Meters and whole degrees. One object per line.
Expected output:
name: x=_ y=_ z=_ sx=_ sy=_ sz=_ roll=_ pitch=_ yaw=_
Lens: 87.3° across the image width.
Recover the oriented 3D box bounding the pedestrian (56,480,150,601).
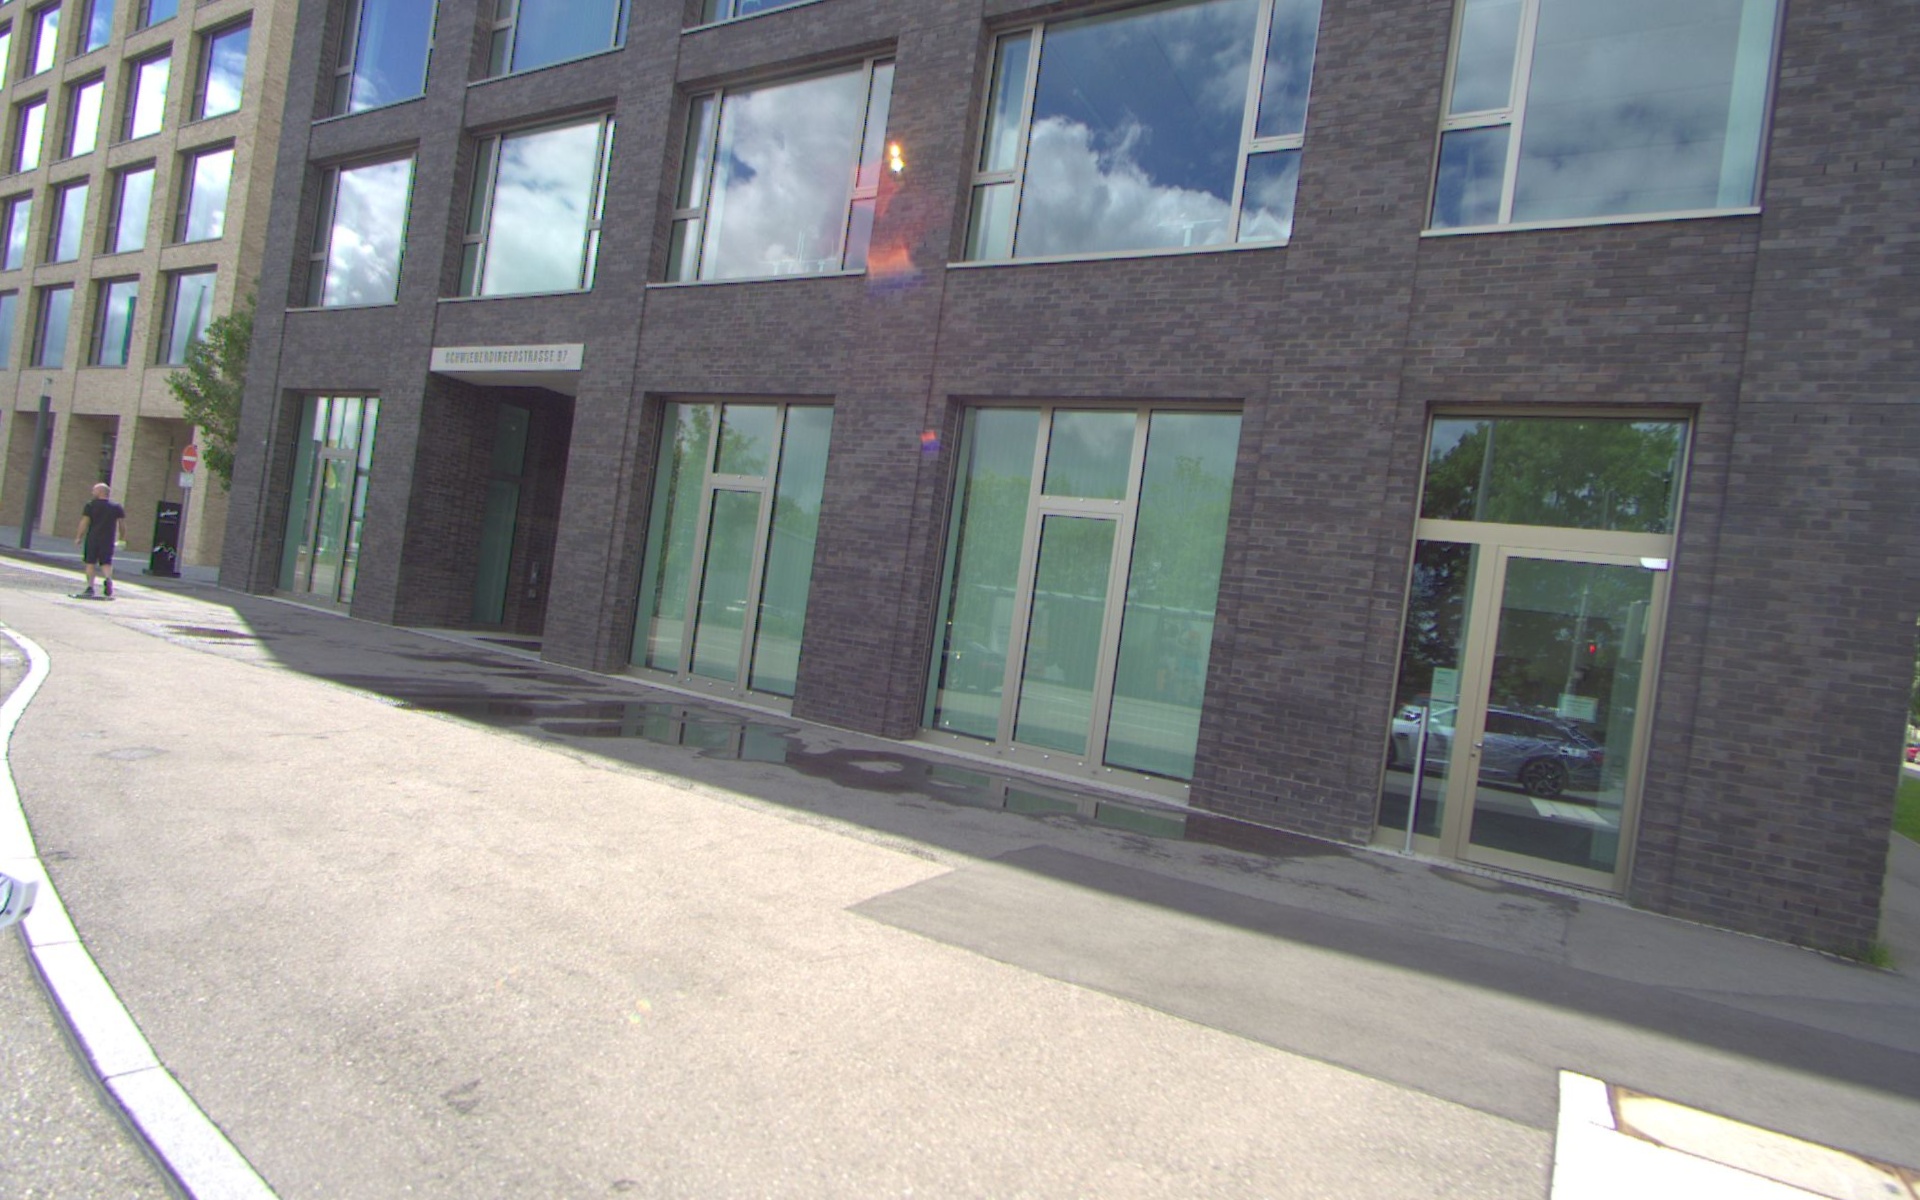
pedestrian: x=-13.438 y=-0.931 z=15.779 sx=0.946 sy=1.748 sz=0.684 roll=7 pitch=-1 yaw=31

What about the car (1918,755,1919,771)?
car: x=66.458 y=11.105 z=67.953 sx=1.471 sy=1.355 sz=3.535 roll=7 pitch=-1 yaw=28
